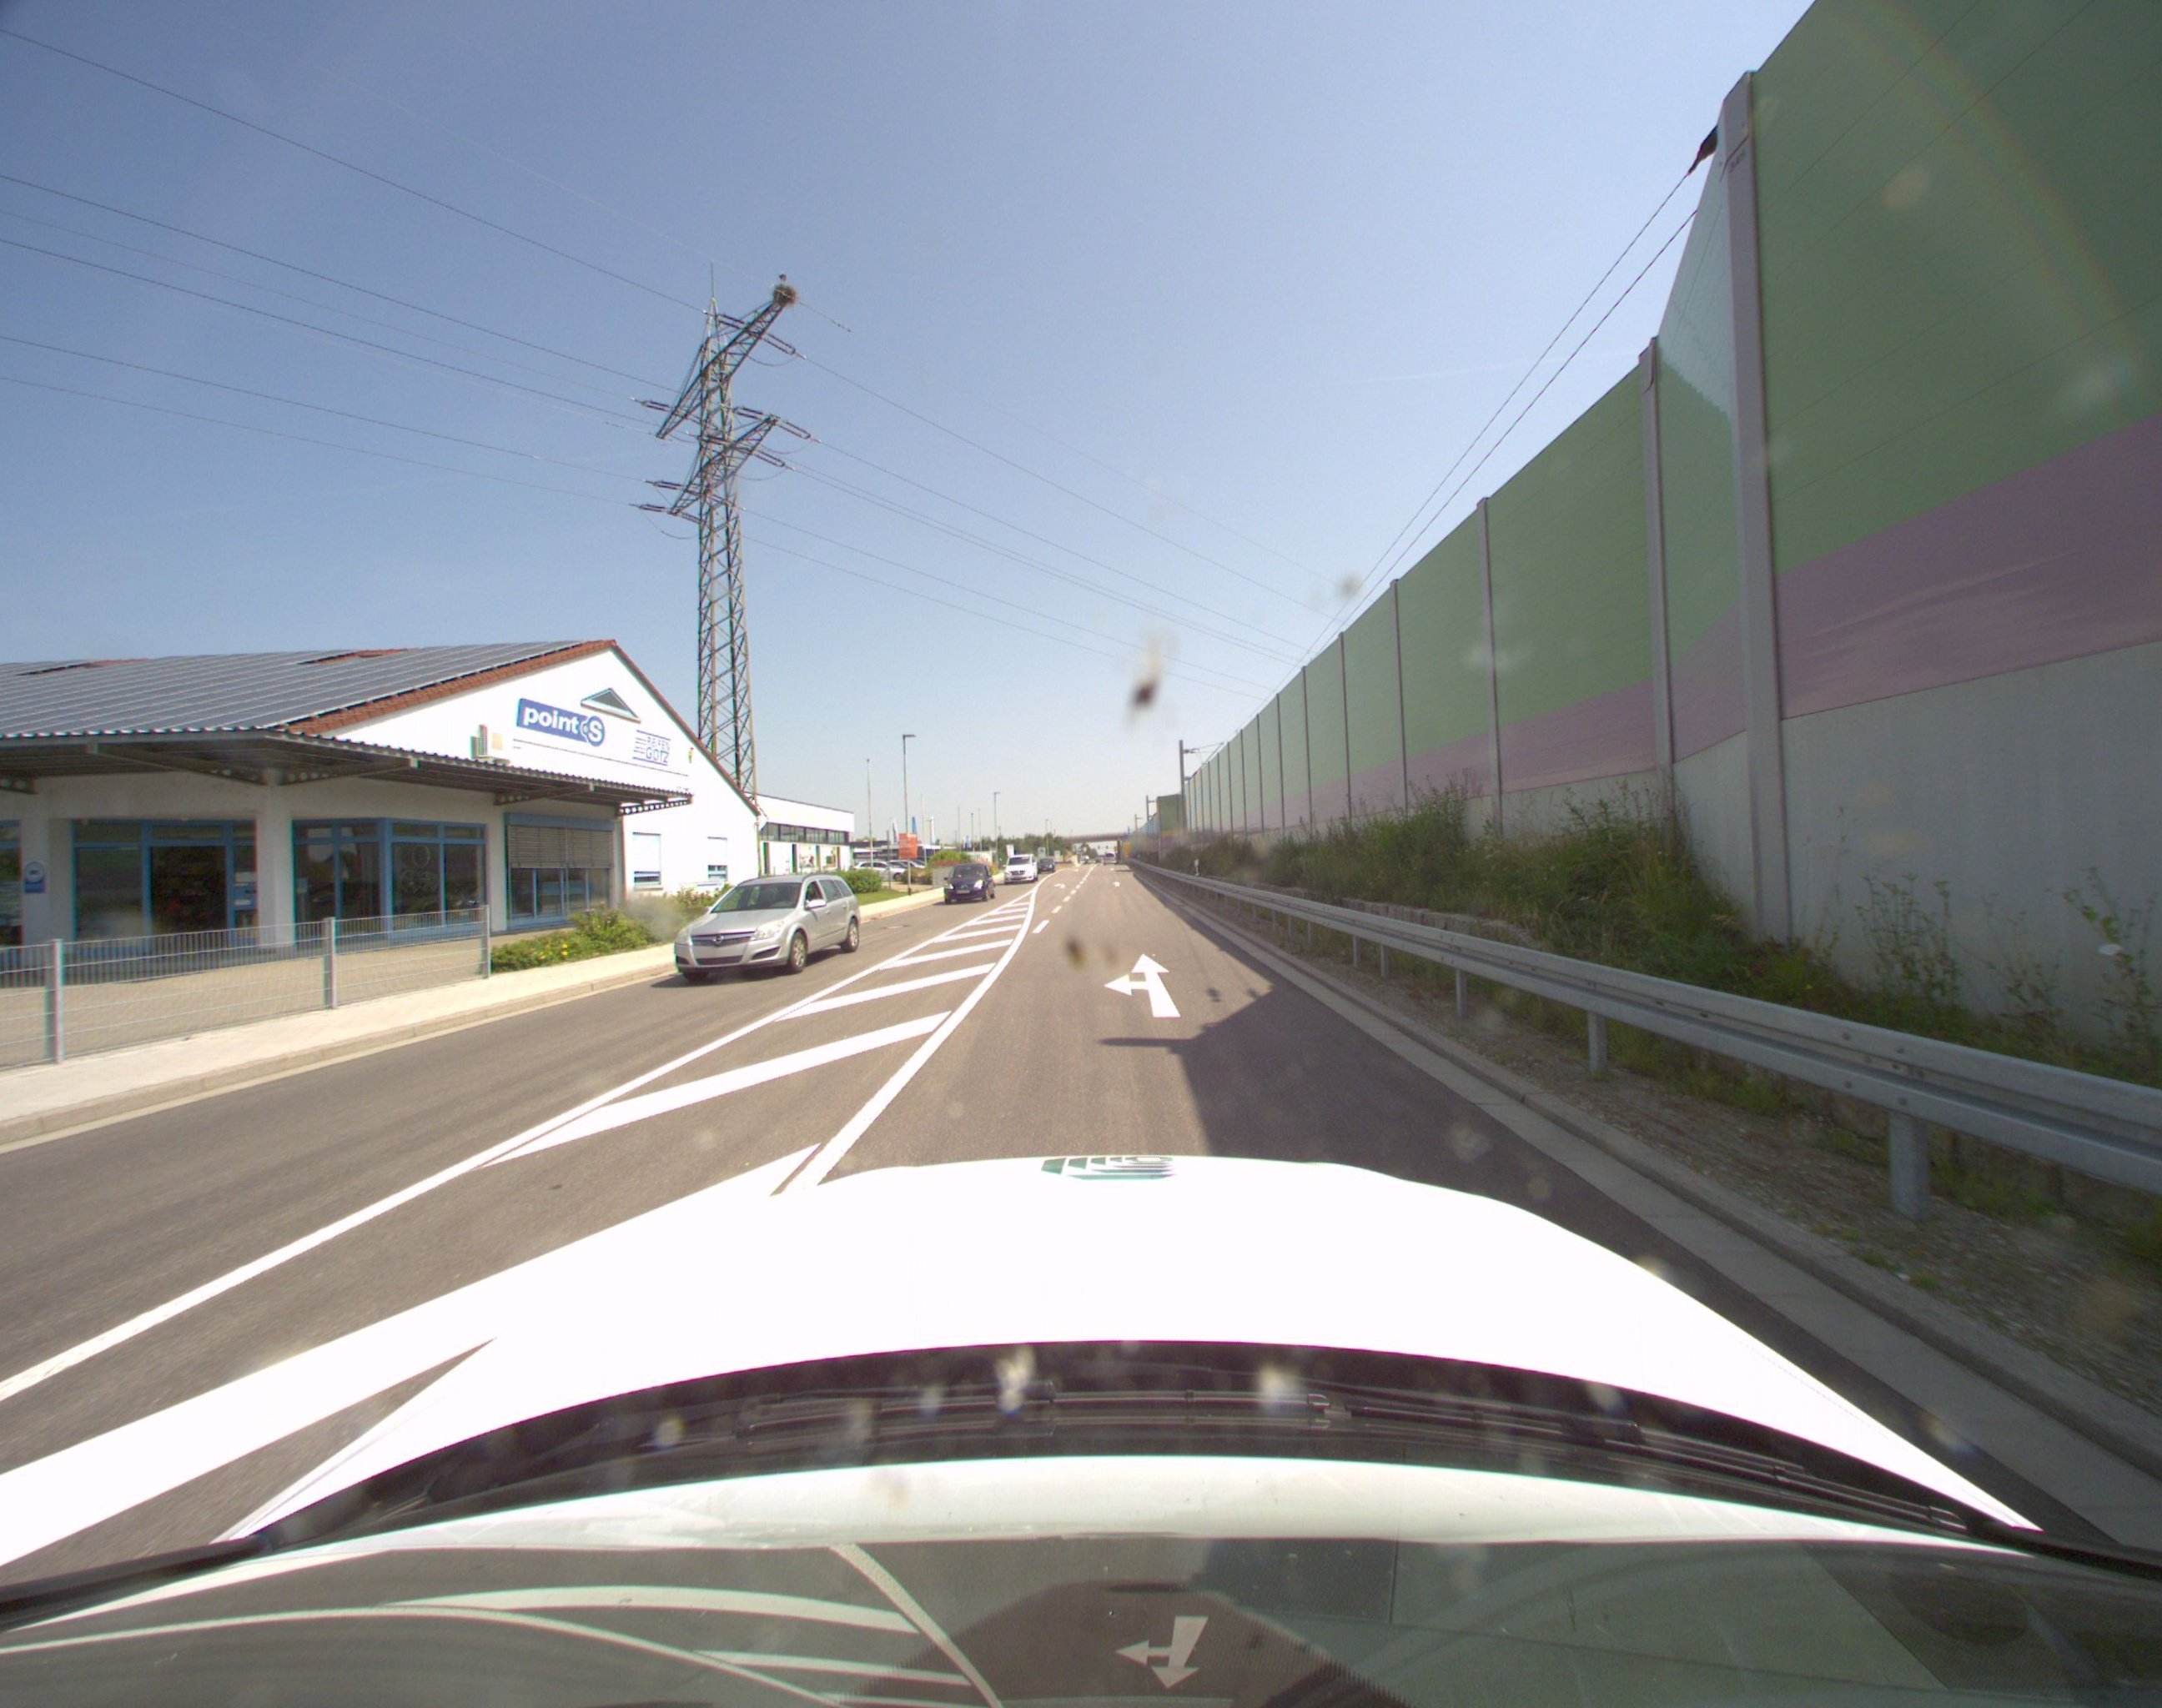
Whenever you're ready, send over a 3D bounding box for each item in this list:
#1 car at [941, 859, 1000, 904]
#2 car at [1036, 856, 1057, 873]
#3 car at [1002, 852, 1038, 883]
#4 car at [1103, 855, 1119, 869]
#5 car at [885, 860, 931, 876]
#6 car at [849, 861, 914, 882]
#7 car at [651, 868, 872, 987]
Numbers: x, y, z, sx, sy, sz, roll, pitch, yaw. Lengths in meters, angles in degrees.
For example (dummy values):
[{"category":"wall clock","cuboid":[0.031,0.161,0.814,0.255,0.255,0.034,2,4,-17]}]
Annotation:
[{"category":"car","cuboid":[-4.445,1.078,33.311,1.662,1.600,3.974,-4,0,1]},{"category":"car","cuboid":[-3.223,0.961,76.346,1.665,1.423,4.001,-3,0,1]},{"category":"car","cuboid":[-4.017,0.864,54.580,1.988,1.874,5.166,-3,-1,-1]},{"category":"car","cuboid":[4.234,1.107,114.190,1.985,1.757,4.004,-2,0,3]},{"category":"car","cuboid":[-14.205,1.132,67.011,3.498,1.254,1.504,0,0,0]},{"category":"car","cuboid":[-14.169,1.226,58.017,4.210,1.456,1.764,0,0,0]},{"category":"car","cuboid":[-4.983,1.052,13.429,1.757,1.466,4.261,-4,0,2]}]
